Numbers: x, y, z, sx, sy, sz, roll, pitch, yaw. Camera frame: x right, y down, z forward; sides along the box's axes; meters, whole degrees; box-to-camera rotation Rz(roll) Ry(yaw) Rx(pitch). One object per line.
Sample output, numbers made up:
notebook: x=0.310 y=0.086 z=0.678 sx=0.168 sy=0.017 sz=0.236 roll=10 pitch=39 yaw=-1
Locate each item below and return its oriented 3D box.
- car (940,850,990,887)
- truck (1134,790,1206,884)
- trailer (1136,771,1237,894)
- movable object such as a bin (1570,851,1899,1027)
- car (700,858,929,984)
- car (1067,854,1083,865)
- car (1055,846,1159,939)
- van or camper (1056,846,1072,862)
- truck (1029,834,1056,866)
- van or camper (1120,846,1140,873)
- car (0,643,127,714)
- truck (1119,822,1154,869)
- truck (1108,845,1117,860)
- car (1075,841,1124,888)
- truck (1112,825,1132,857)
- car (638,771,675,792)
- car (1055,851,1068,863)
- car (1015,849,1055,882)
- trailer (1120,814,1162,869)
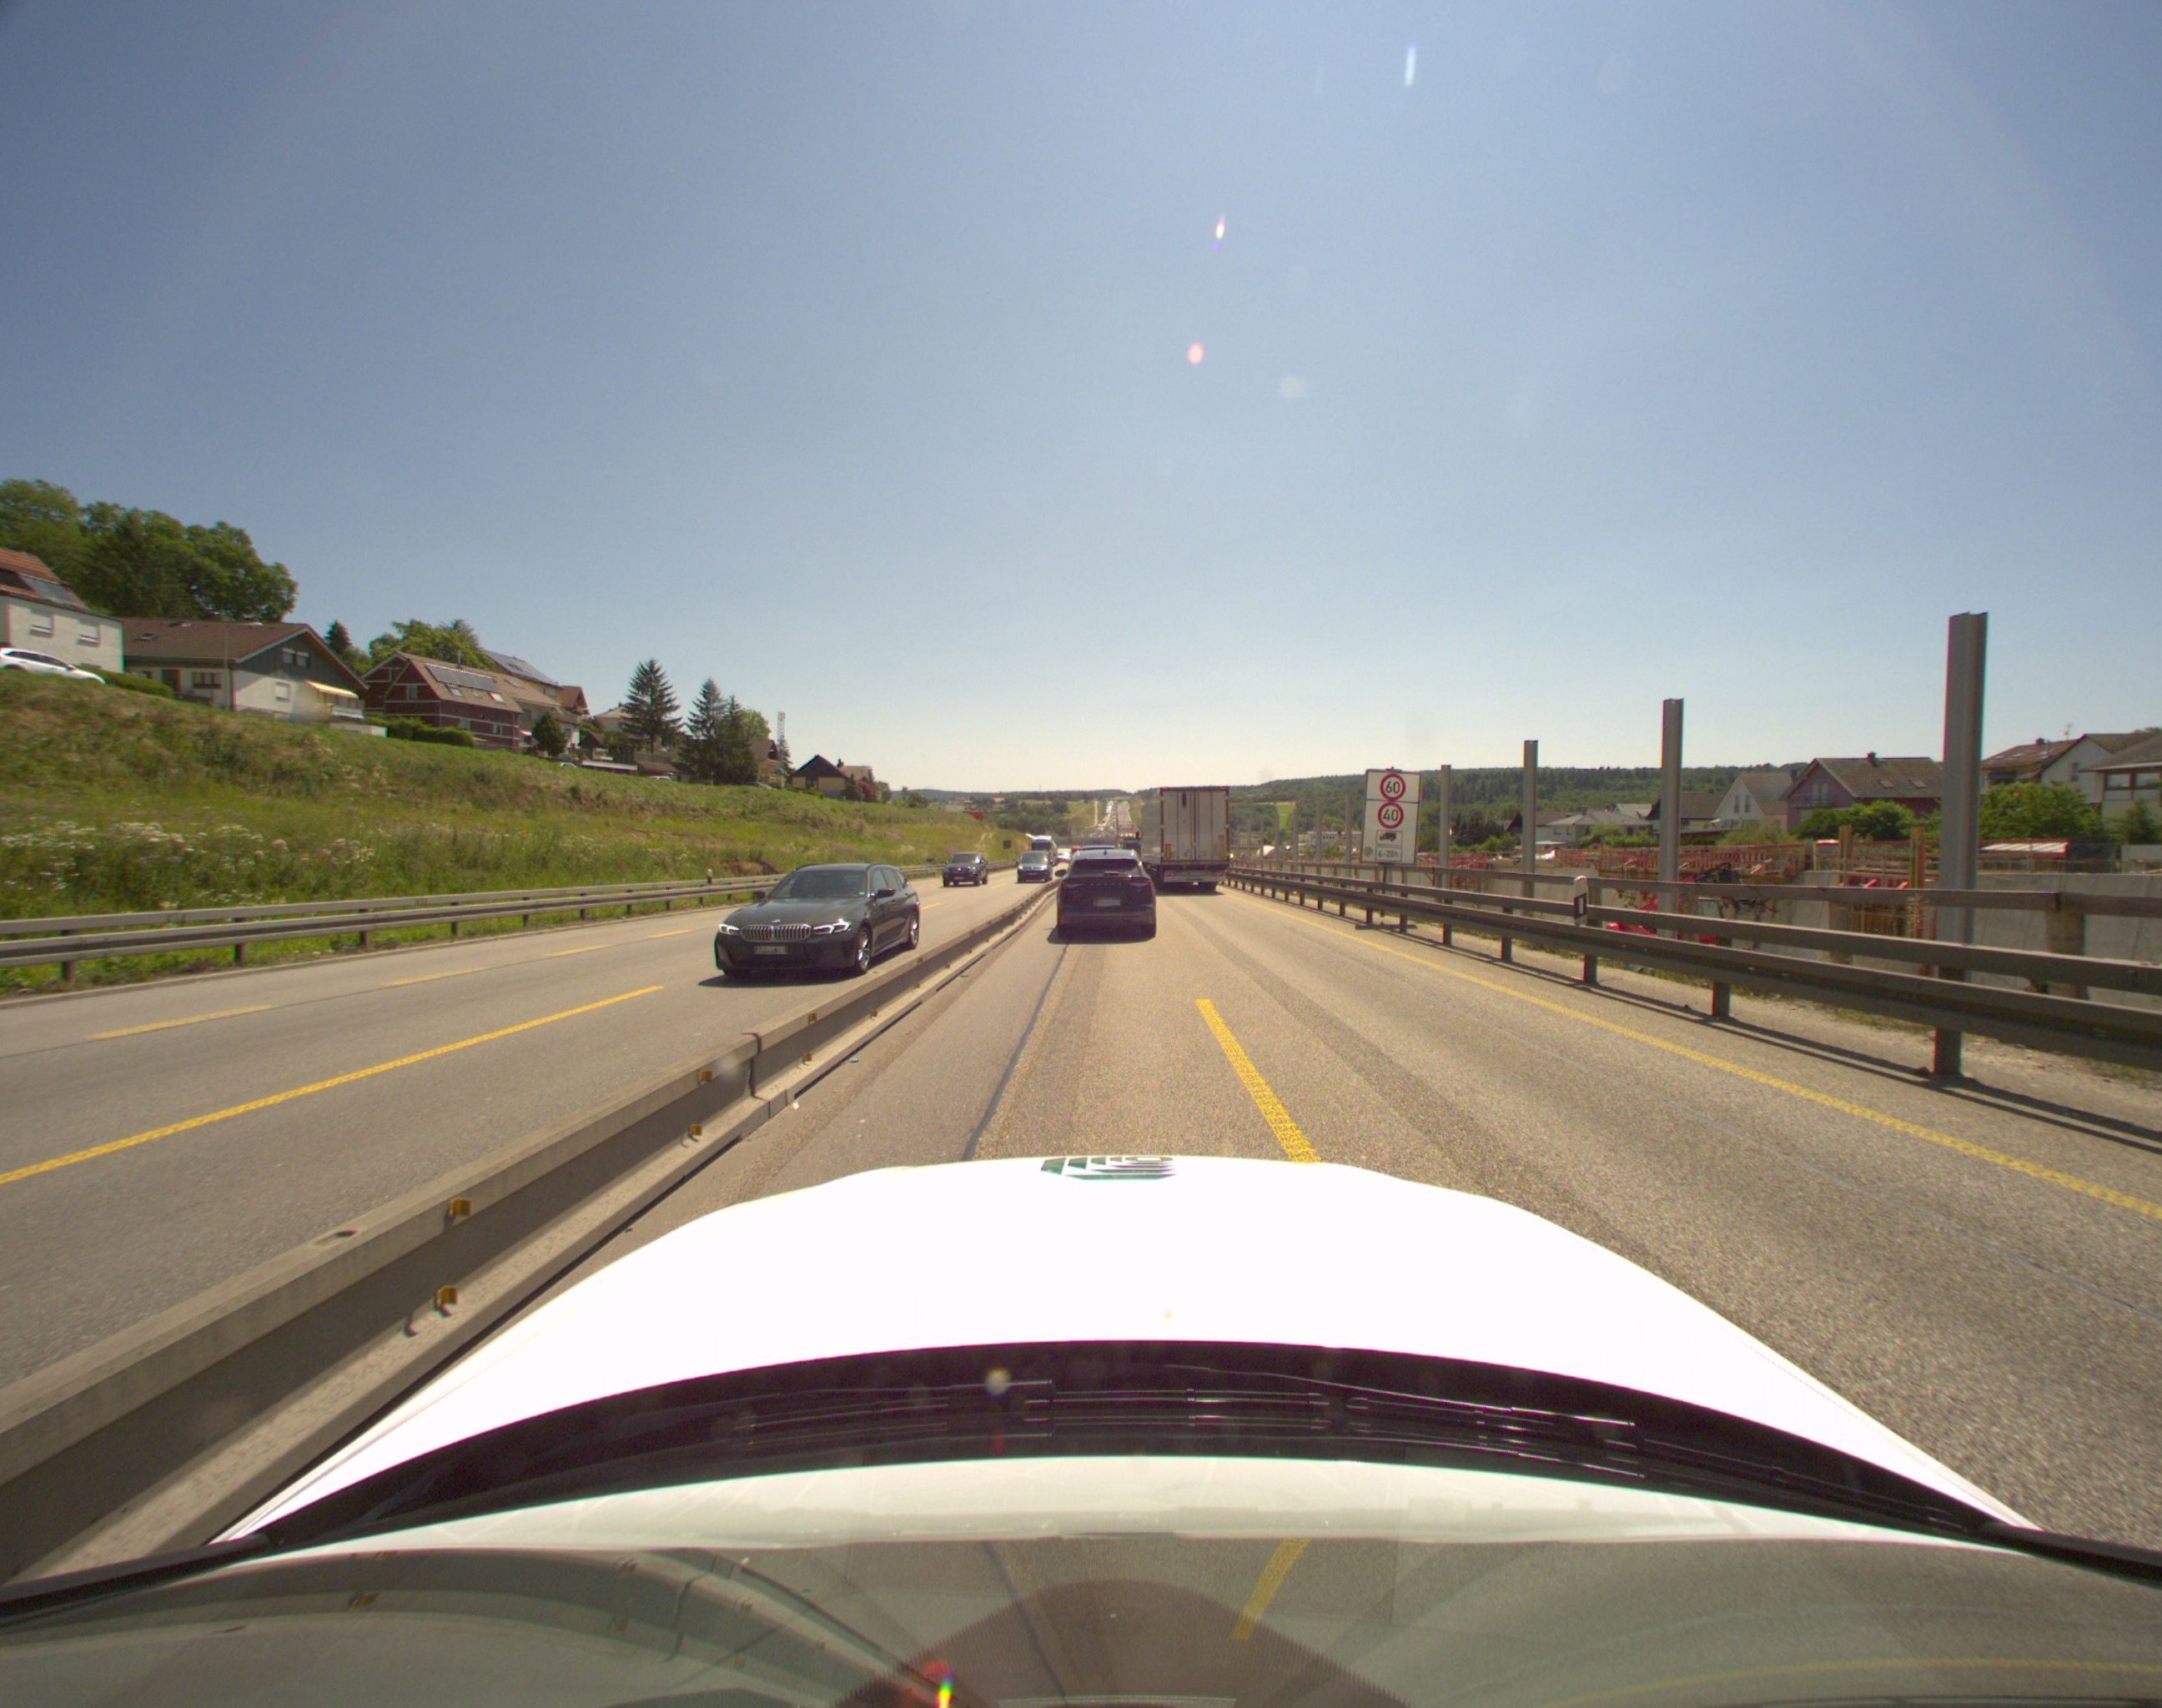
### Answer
car: x=-5.943 y=0.704 z=42.244 sx=1.821 sy=1.766 sz=4.498 roll=-1 pitch=0 yaw=1
truck: x=4.550 y=-0.844 z=43.309 sx=3.168 sy=4.513 sz=8.169 roll=-1 pitch=0 yaw=2
trailer: x=4.363 y=-0.836 z=36.797 sx=3.168 sy=4.513 sz=13.113 roll=-1 pitch=0 yaw=2
movable object such as a bin: x=20.686 y=2.409 z=27.008 sx=3.215 sy=4.743 sz=9.657 roll=-1 pitch=-1 yaw=1
car: x=-3.632 y=0.823 z=12.016 sx=1.791 sy=1.466 sz=4.357 roll=-2 pitch=0 yaw=1
car: x=-0.755 y=0.764 z=110.200 sx=1.887 sy=1.414 sz=4.681 roll=-1 pitch=0 yaw=2
car: x=0.534 y=0.691 z=16.141 sx=1.795 sy=1.607 sz=4.002 roll=-1 pitch=-1 yaw=2
van or camper: x=-3.000 y=0.038 z=143.768 sx=2.348 sy=2.676 sz=7.860 roll=-1 pitch=0 yaw=2
truck: x=-4.601 y=-0.476 z=97.966 sx=2.769 sy=3.672 sz=6.278 roll=-1 pitch=0 yaw=1
van or camper: x=6.222 y=0.695 z=102.460 sx=2.378 sy=3.281 sz=6.474 roll=-1 pitch=-1 yaw=4
car: x=-45.357 y=-7.558 z=35.311 sx=2.341 sy=2.041 sz=4.815 roll=-1 pitch=-1 yaw=-1
truck: x=5.552 y=-0.774 z=82.680 sx=3.168 sy=4.513 sz=8.167 roll=-1 pitch=-1 yaw=2
truck: x=8.981 y=-0.388 z=231.709 sx=2.630 sy=4.194 sz=9.287 roll=-1 pitch=-1 yaw=2
car: x=0.825 y=0.498 z=36.059 sx=1.986 sy=1.926 sz=4.508 roll=-1 pitch=-1 yaw=1
truck: x=6.401 y=-1.919 z=128.205 sx=2.842 sy=4.465 sz=11.918 roll=-1 pitch=-1 yaw=1
car: x=-50.117 y=-8.563 z=96.275 sx=1.983 sy=2.014 sz=4.008 roll=-1 pitch=-1 yaw=7
car: x=-3.248 y=0.558 z=137.164 sx=1.986 sy=1.971 sz=5.345 roll=-1 pitch=0 yaw=2
car: x=-2.580 y=0.616 z=46.263 sx=1.839 sy=1.777 sz=4.883 roll=-1 pitch=0 yaw=1
trailer: x=5.347 y=-0.938 z=75.612 sx=3.168 sy=4.513 sz=14.970 roll=-1 pitch=-1 yaw=2
